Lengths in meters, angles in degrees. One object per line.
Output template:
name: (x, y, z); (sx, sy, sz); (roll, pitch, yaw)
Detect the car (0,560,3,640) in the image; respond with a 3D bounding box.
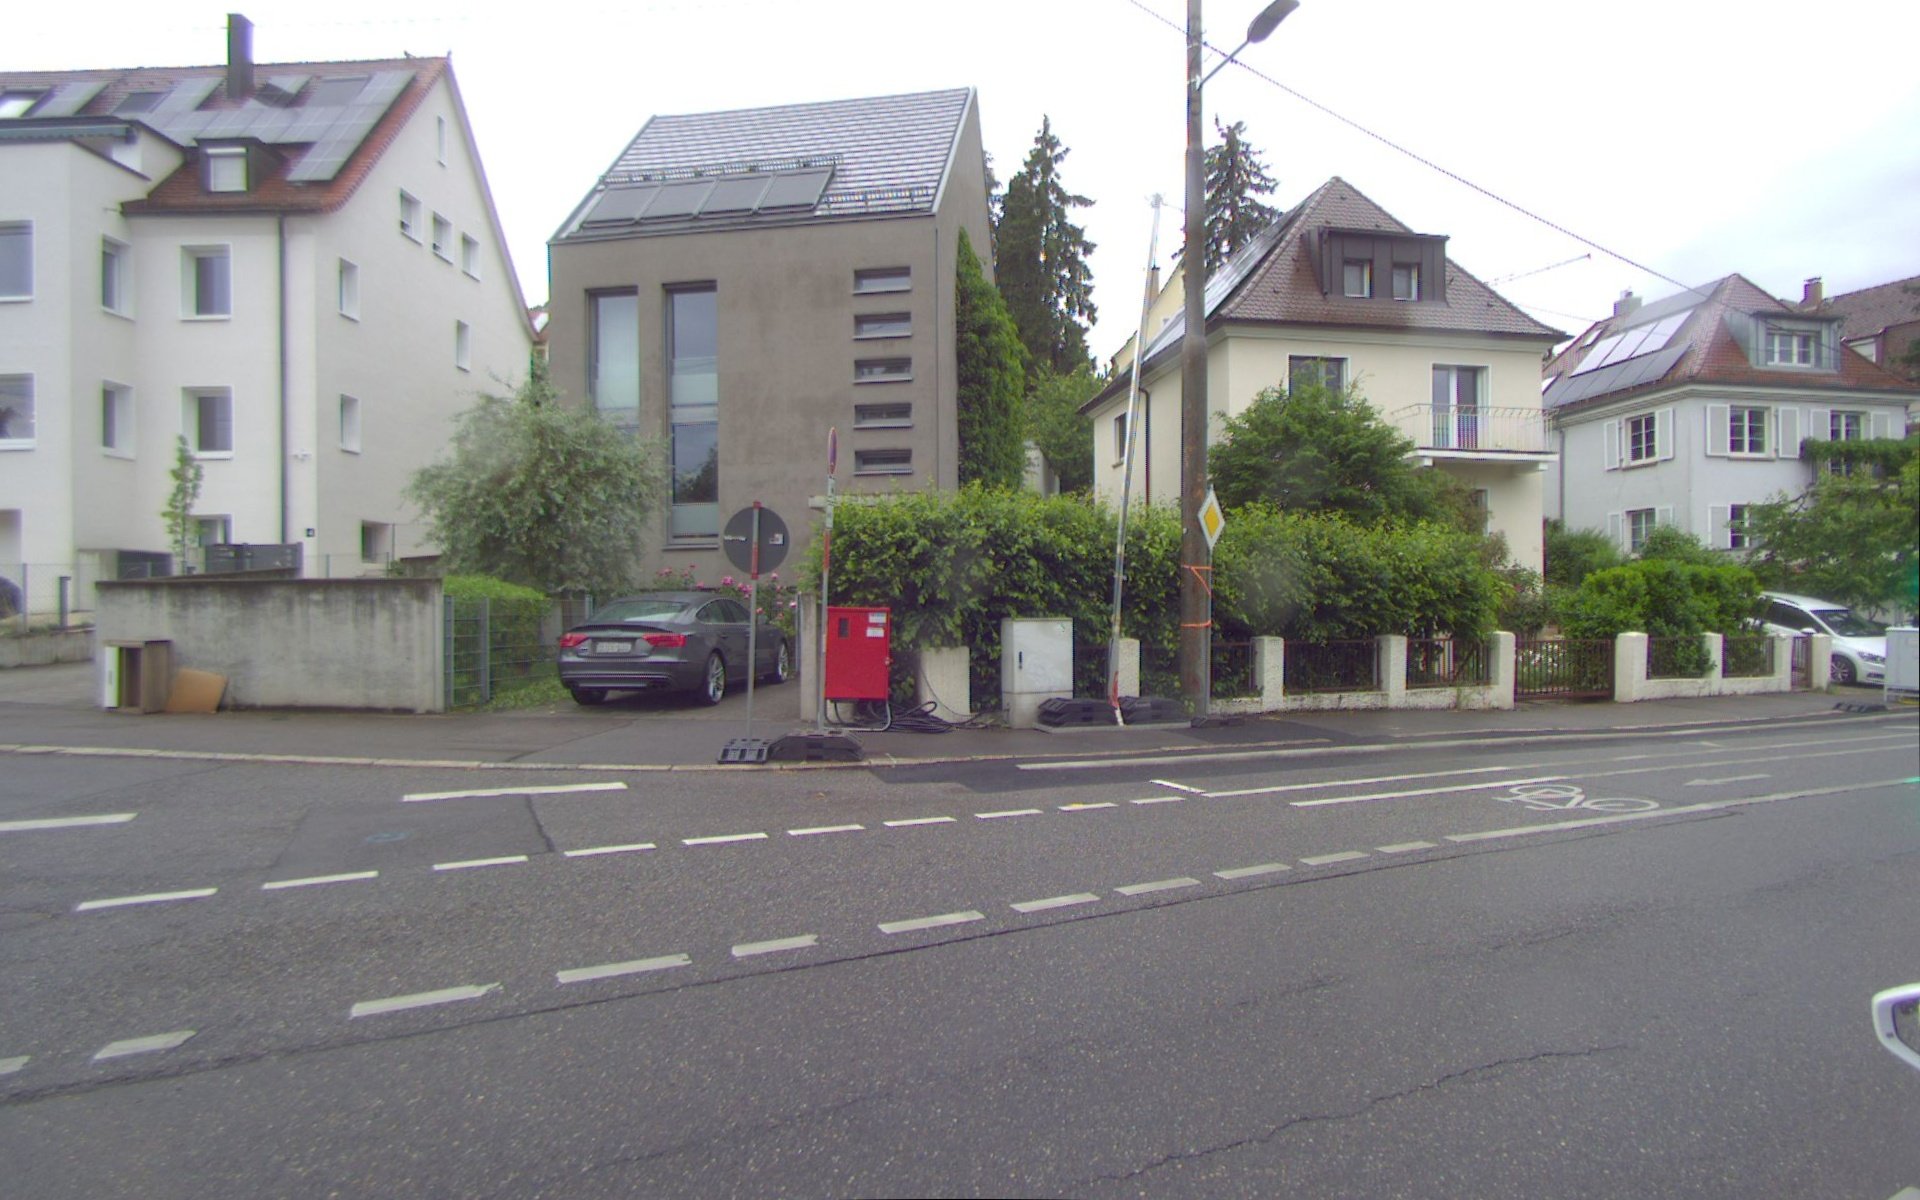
car: (-16.977, 0.072, 14.965); (1.536, 1.350, 3.923); (1, 3, 3)

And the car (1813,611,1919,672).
car: (25.761, 1.120, 26.949); (1.909, 1.546, 3.986); (2, 0, -16)

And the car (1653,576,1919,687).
car: (19.465, 0.617, 23.730); (1.833, 1.639, 4.960); (0, 10, -15)

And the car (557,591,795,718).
car: (-3.616, 0.597, 13.647); (1.581, 1.387, 4.265); (0, 1, 7)
